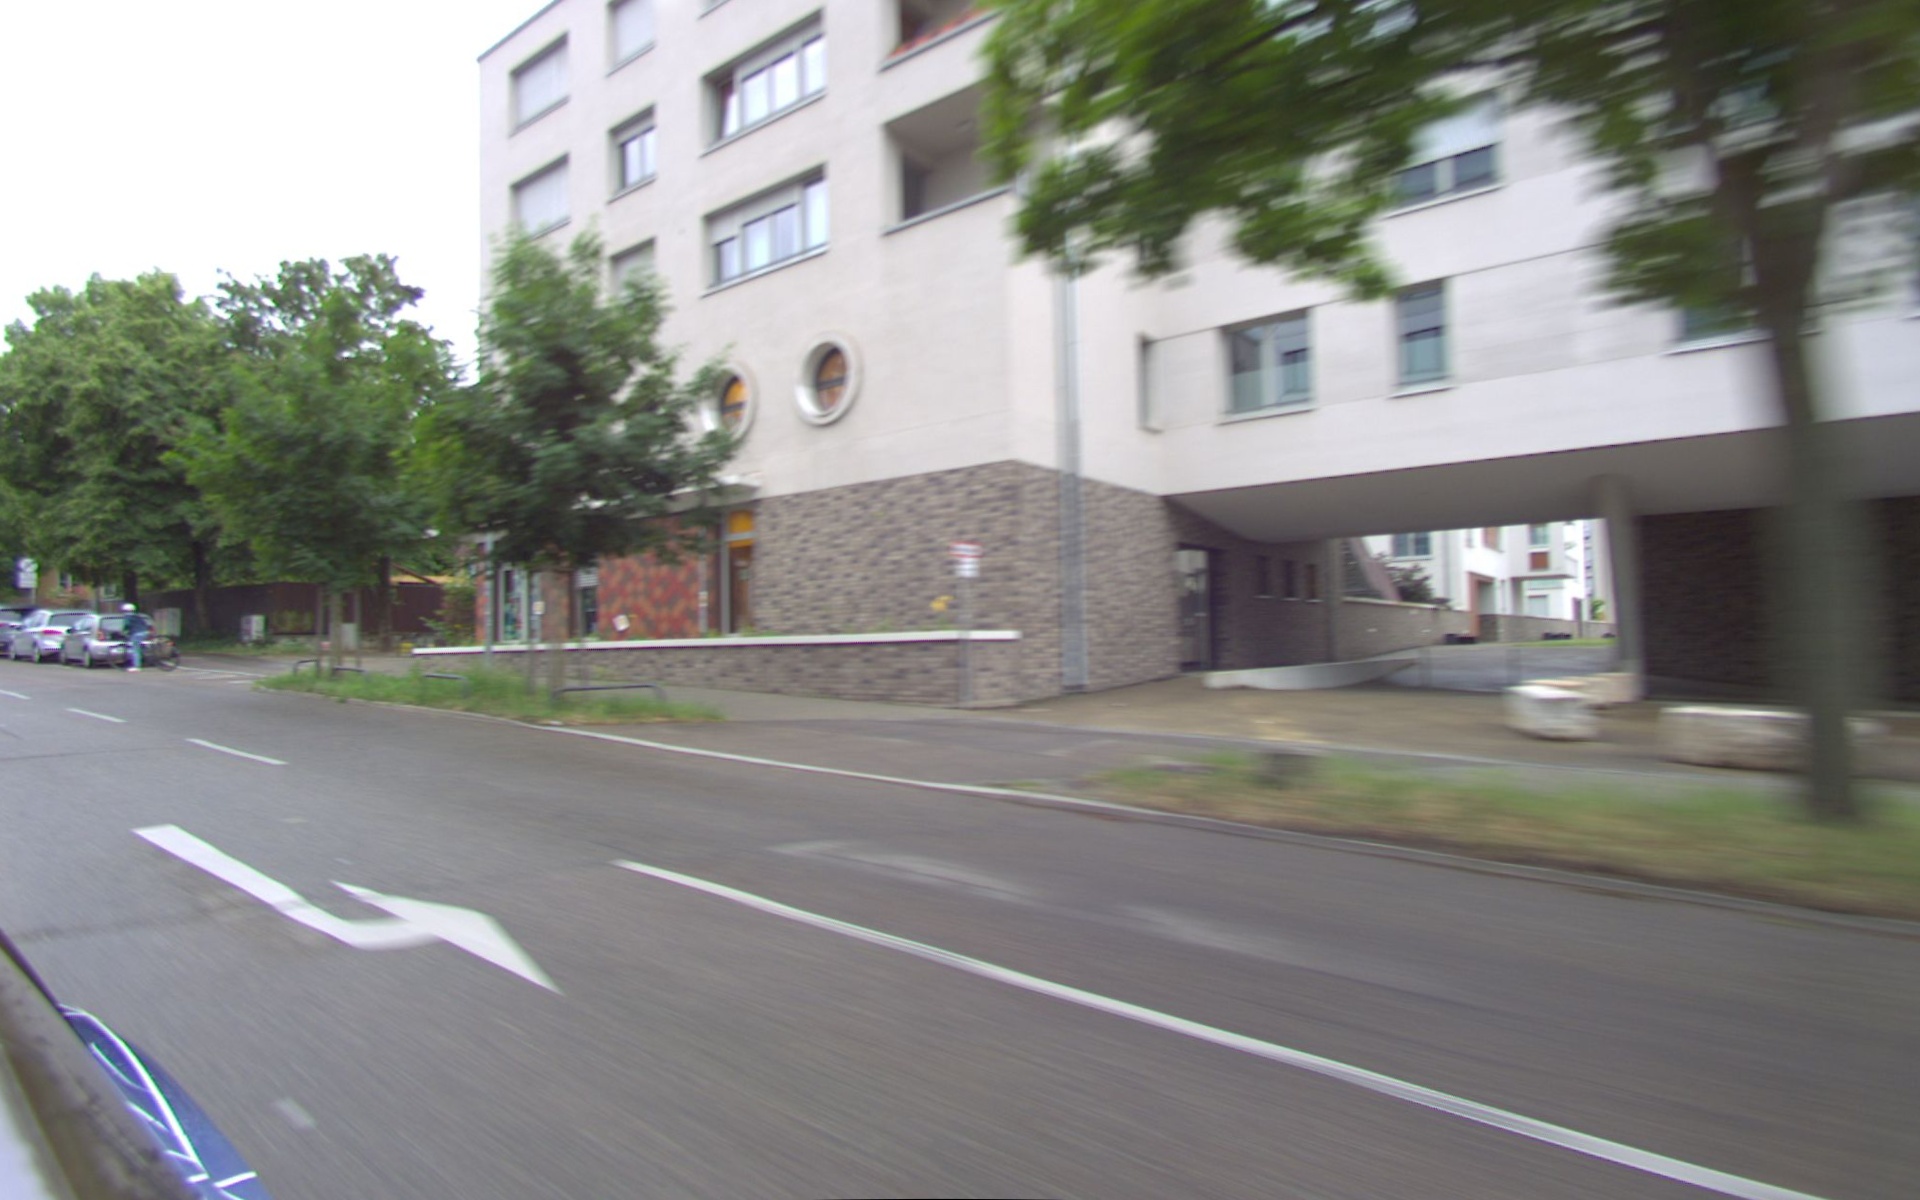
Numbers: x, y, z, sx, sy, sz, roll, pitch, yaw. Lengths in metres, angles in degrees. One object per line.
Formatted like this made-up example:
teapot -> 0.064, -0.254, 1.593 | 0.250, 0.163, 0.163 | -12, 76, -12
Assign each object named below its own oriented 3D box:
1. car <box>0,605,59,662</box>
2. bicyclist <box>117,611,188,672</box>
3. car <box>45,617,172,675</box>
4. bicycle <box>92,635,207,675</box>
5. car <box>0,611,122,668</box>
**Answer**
car -> -32.289, 1.084, 33.994 | 5.400, 1.800, 1.975 | 0, 0, 37
bicyclist -> -20.671, 1.049, 25.933 | 1.183, 1.534, 0.805 | 0, 0, -6
car -> -23.762, 1.223, 28.211 | 3.840, 1.474, 1.862 | 0, 0, 36
bicycle -> -20.750, 1.401, 25.930 | 2.219, 0.986, 0.805 | 0, 0, -6
car -> -27.581, 1.144, 30.943 | 4.480, 1.605, 1.972 | 0, 0, 36
